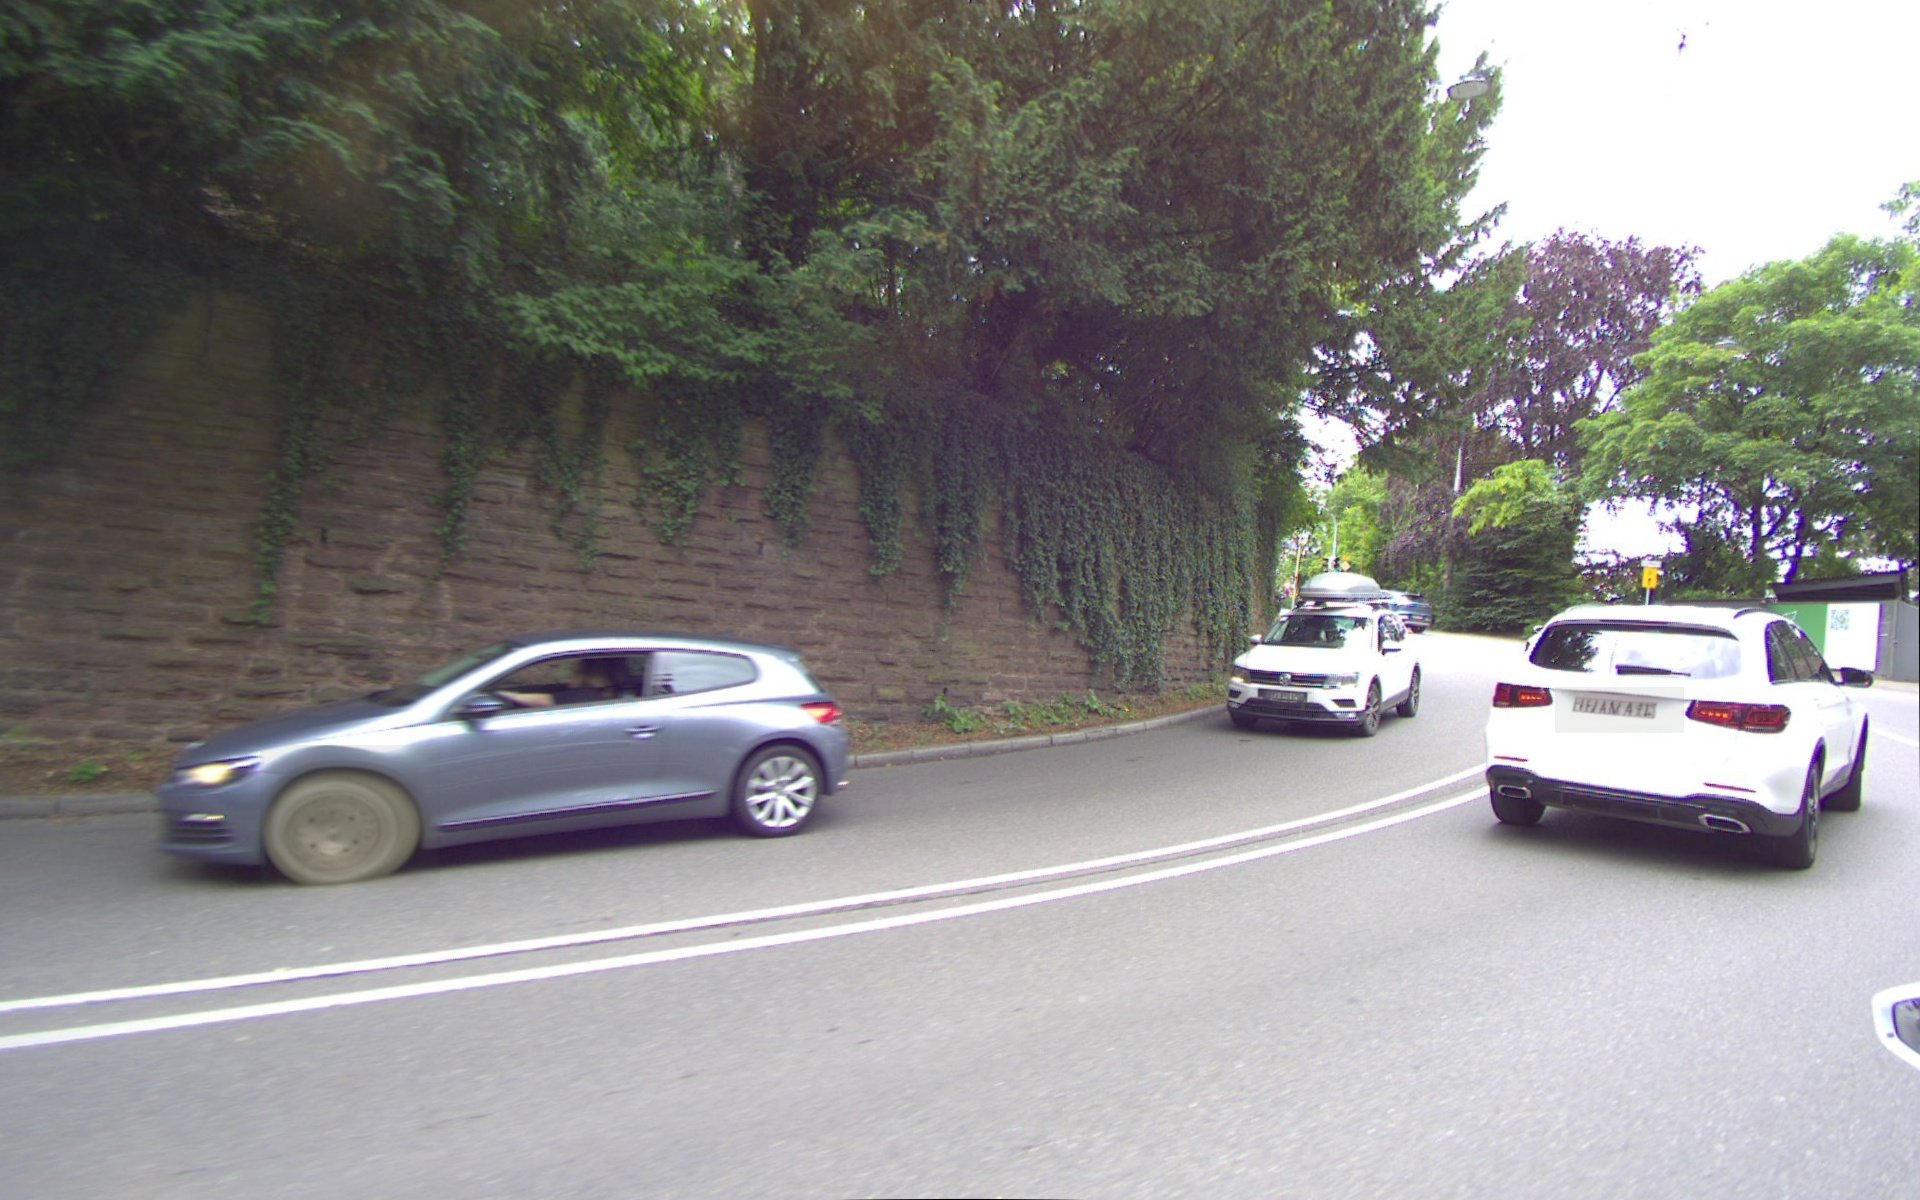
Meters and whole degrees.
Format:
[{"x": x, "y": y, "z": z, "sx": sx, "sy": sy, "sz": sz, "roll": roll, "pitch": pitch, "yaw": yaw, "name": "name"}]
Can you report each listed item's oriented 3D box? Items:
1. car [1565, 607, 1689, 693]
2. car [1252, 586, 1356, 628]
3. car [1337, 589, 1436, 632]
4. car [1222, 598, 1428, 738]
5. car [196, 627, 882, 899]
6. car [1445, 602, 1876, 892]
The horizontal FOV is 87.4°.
[{"x": 14.097, "y": 0.964, "z": 21.459, "sx": 1.837, "sy": 1.554, "sz": 4.767, "roll": 1, "pitch": 0, "yaw": 29, "name": "car"}, {"x": 13.543, "y": 0.239, "z": 39.810, "sx": 1.780, "sy": 1.462, "sz": 3.980, "roll": 1, "pitch": 2, "yaw": -20, "name": "car"}, {"x": 16.910, "y": 0.390, "z": 40.029, "sx": 1.606, "sy": 1.439, "sz": 3.842, "roll": 2, "pitch": 3, "yaw": -14, "name": "car"}, {"x": 5.339, "y": 0.840, "z": 14.316, "sx": 1.745, "sy": 1.675, "sz": 4.374, "roll": 0, "pitch": -1, "yaw": 34, "name": "car"}, {"x": -2.679, "y": 0.888, "z": 6.913, "sx": 3.916, "sy": 1.357, "sz": 1.761, "roll": 1, "pitch": -1, "yaw": -32, "name": "car"}, {"x": 5.703, "y": 0.876, "z": 7.903, "sx": 4.637, "sy": 1.627, "sz": 1.842, "roll": 1, "pitch": -1, "yaw": -43, "name": "car"}]
